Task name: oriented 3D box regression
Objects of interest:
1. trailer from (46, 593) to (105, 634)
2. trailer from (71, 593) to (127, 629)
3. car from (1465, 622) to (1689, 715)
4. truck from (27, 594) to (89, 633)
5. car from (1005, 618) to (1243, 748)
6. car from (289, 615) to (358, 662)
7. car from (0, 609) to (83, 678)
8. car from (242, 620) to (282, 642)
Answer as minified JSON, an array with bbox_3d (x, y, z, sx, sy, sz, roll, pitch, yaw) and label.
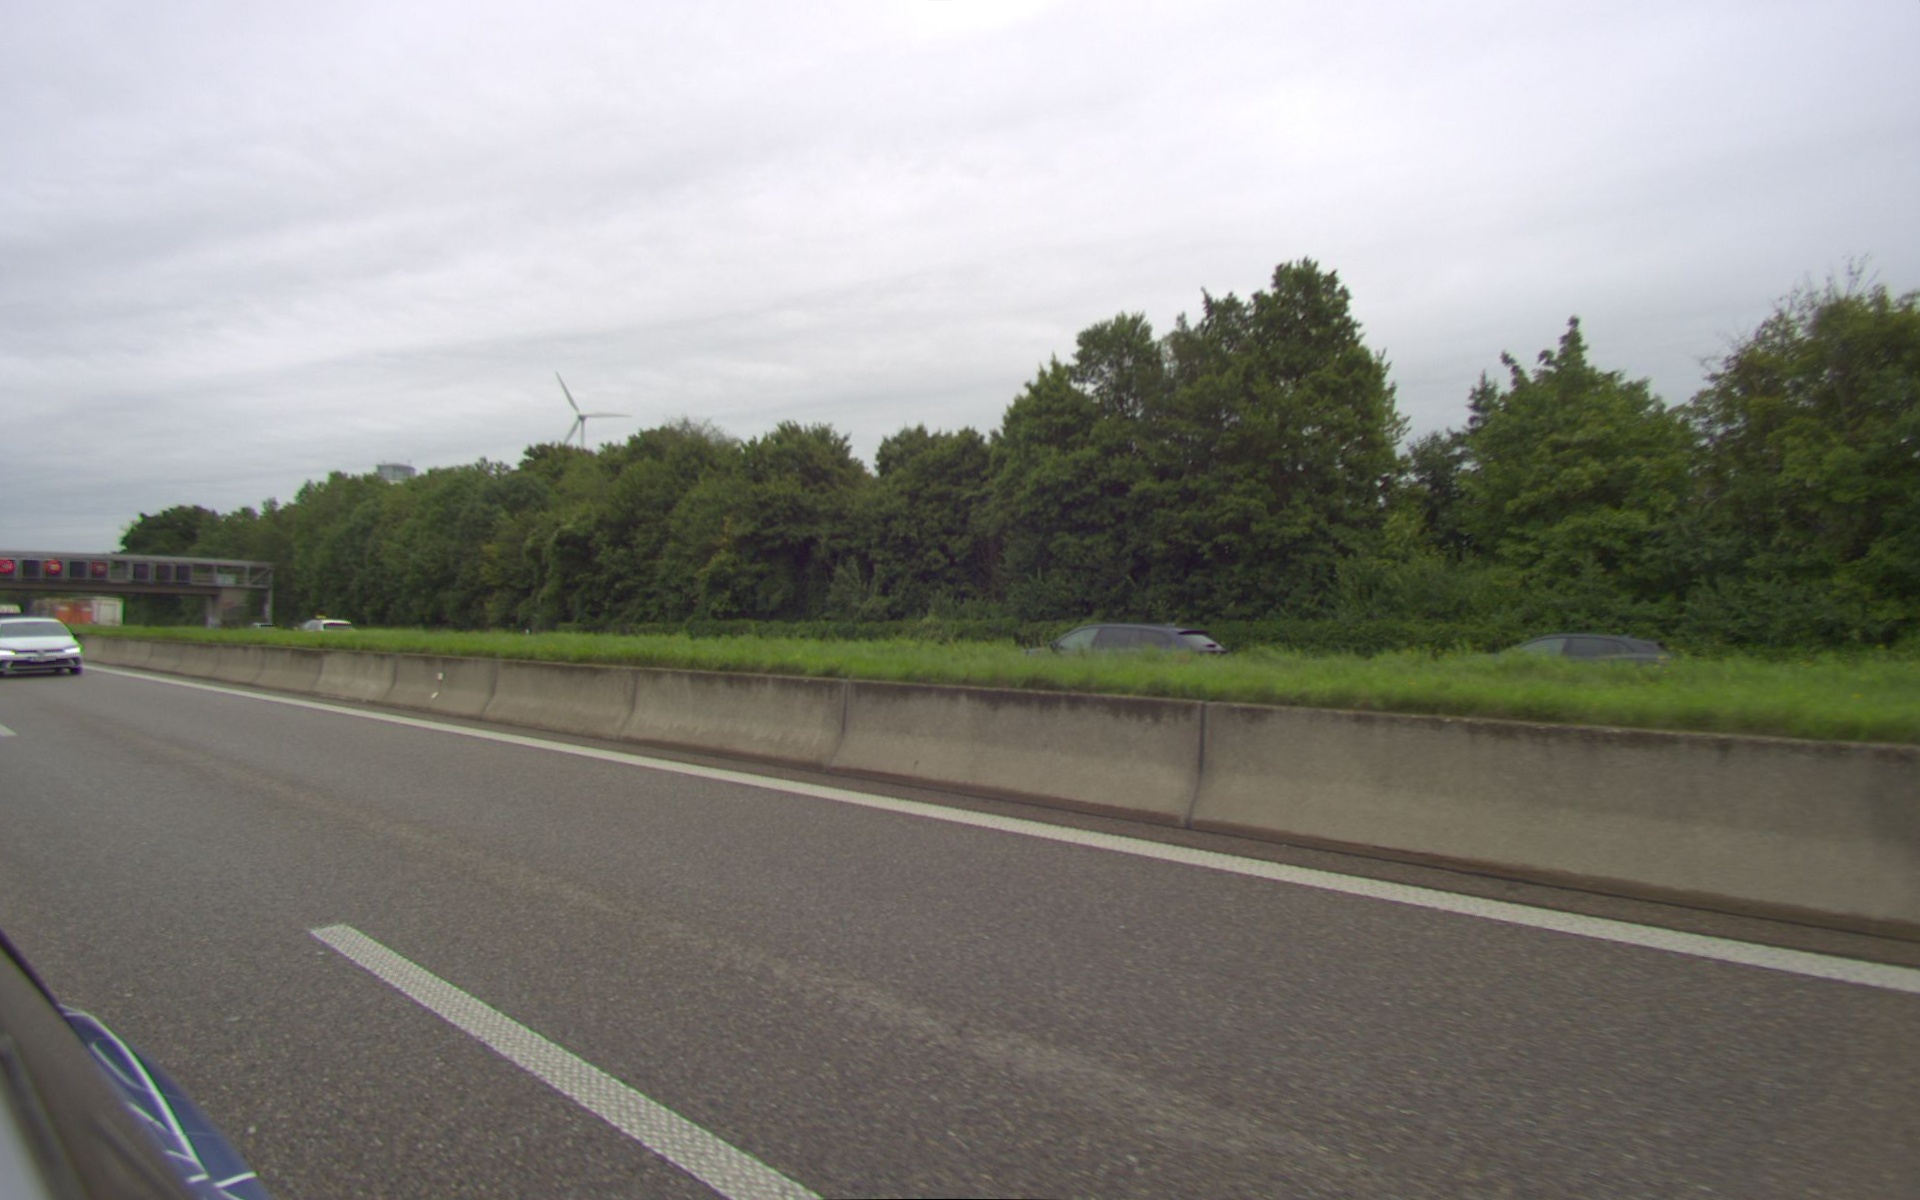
[{"bbox_3d":[-79.193,1.161,90.547,8.316,3.485,2.901,-1,0,41],"label":"trailer"},{"bbox_3d":[-89.117,1.120,104.661,11.865,3.566,2.658,-1,0,41],"label":"trailer"},{"bbox_3d":[13.618,1.425,22.443,3.997,1.807,1.973,-1,0,40],"label":"car"},{"bbox_3d":[-86.638,1.285,97.132,11.177,3.492,2.921,-1,0,41],"label":"truck"},{"bbox_3d":[2.876,1.376,18.275,3.952,2.029,1.684,-1,0,41],"label":"car"},{"bbox_3d":[-28.984,1.694,46.048,3.998,2.029,1.603,-1,-1,41],"label":"car"},{"bbox_3d":[-24.270,1.076,26.190,4.661,1.630,1.735,-1,-1,41],"label":"car"},{"bbox_3d":[-61.129,2.668,88.616,4.304,1.802,1.972,-1,0,42],"label":"car"}]
